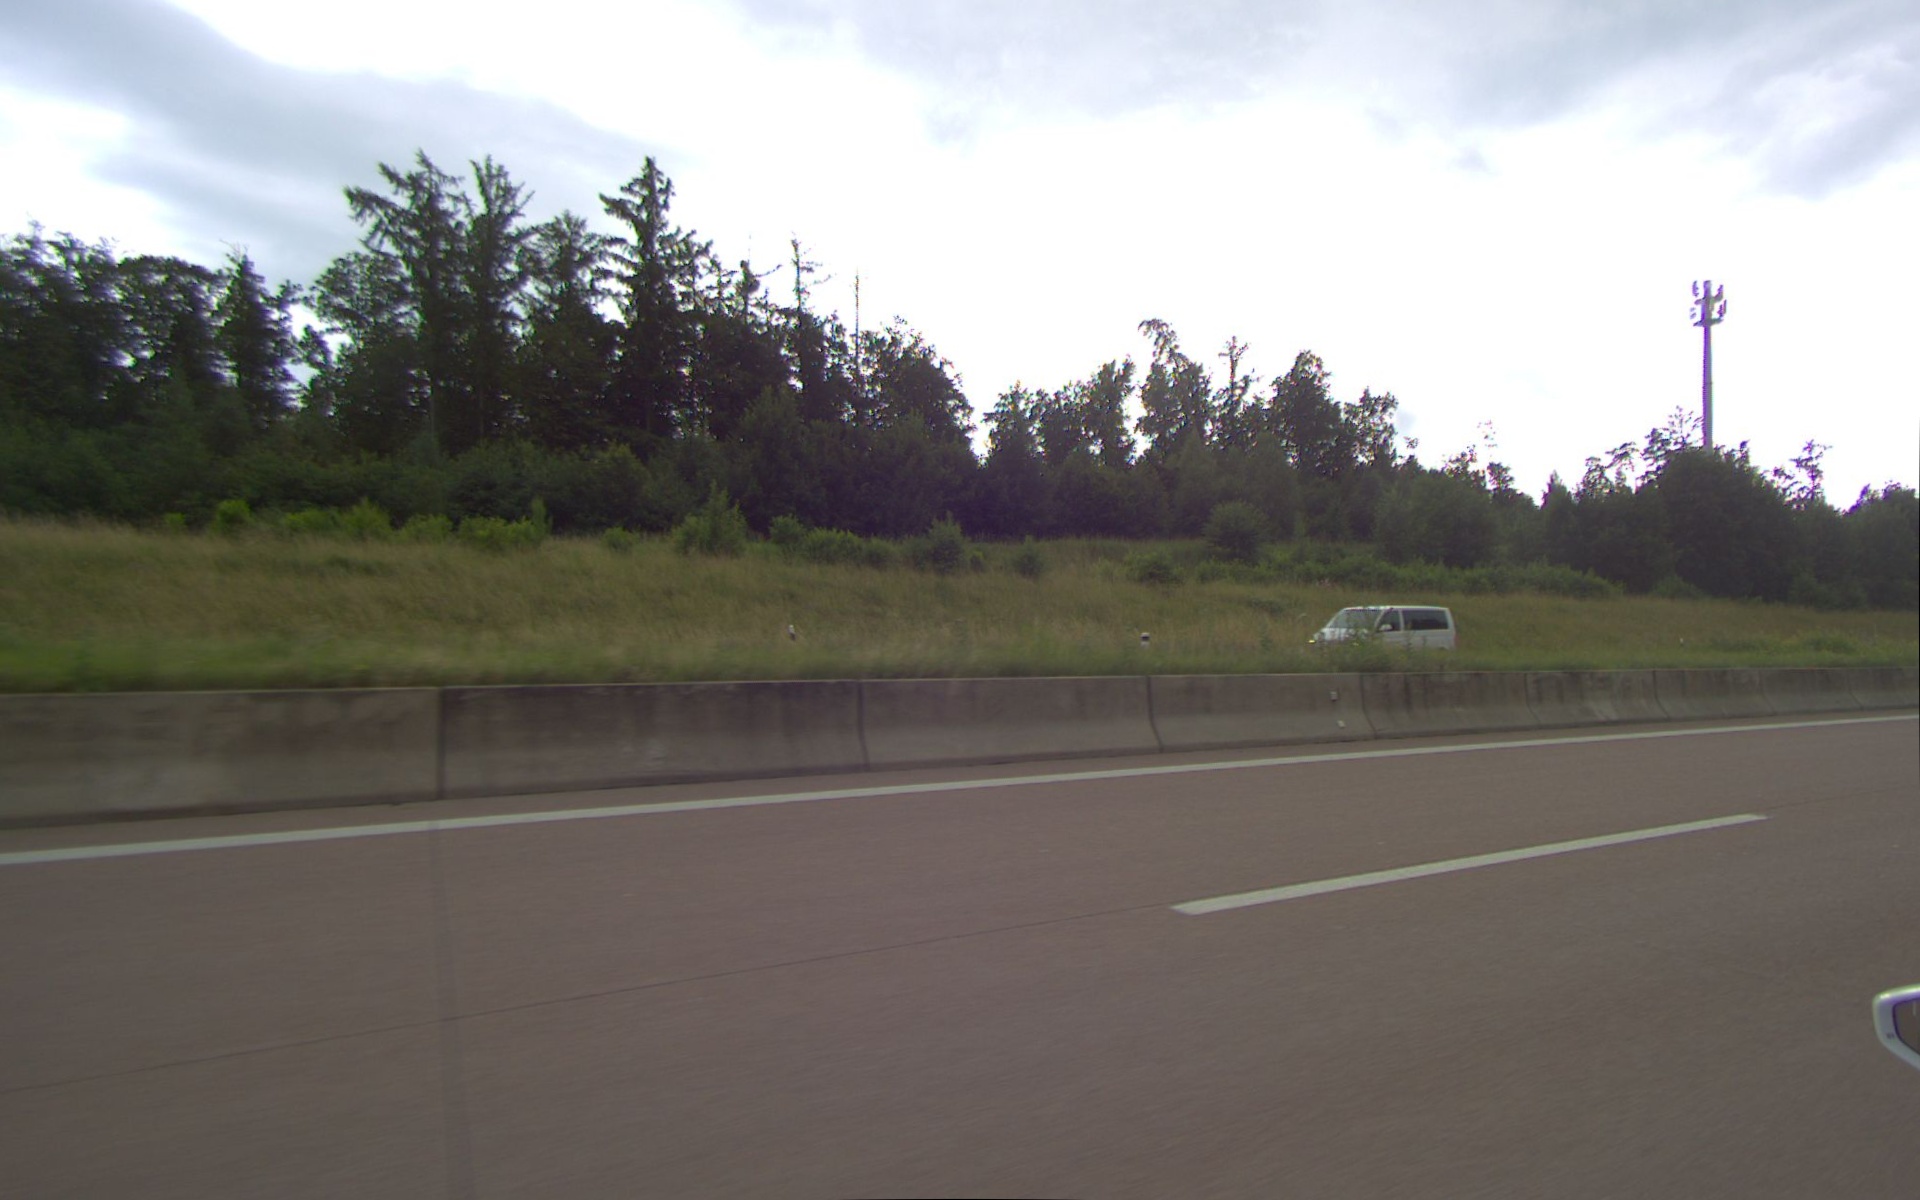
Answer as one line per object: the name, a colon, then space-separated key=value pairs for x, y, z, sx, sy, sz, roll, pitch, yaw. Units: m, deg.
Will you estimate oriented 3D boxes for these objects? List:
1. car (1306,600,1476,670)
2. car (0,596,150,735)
car: x=12.730 y=1.024 z=29.588 sx=5.090 sy=1.899 sz=1.909 roll=1 pitch=0 yaw=-30
car: x=-11.256 y=0.641 z=10.737 sx=3.762 sy=1.435 sz=1.588 roll=4 pitch=-1 yaw=-31
